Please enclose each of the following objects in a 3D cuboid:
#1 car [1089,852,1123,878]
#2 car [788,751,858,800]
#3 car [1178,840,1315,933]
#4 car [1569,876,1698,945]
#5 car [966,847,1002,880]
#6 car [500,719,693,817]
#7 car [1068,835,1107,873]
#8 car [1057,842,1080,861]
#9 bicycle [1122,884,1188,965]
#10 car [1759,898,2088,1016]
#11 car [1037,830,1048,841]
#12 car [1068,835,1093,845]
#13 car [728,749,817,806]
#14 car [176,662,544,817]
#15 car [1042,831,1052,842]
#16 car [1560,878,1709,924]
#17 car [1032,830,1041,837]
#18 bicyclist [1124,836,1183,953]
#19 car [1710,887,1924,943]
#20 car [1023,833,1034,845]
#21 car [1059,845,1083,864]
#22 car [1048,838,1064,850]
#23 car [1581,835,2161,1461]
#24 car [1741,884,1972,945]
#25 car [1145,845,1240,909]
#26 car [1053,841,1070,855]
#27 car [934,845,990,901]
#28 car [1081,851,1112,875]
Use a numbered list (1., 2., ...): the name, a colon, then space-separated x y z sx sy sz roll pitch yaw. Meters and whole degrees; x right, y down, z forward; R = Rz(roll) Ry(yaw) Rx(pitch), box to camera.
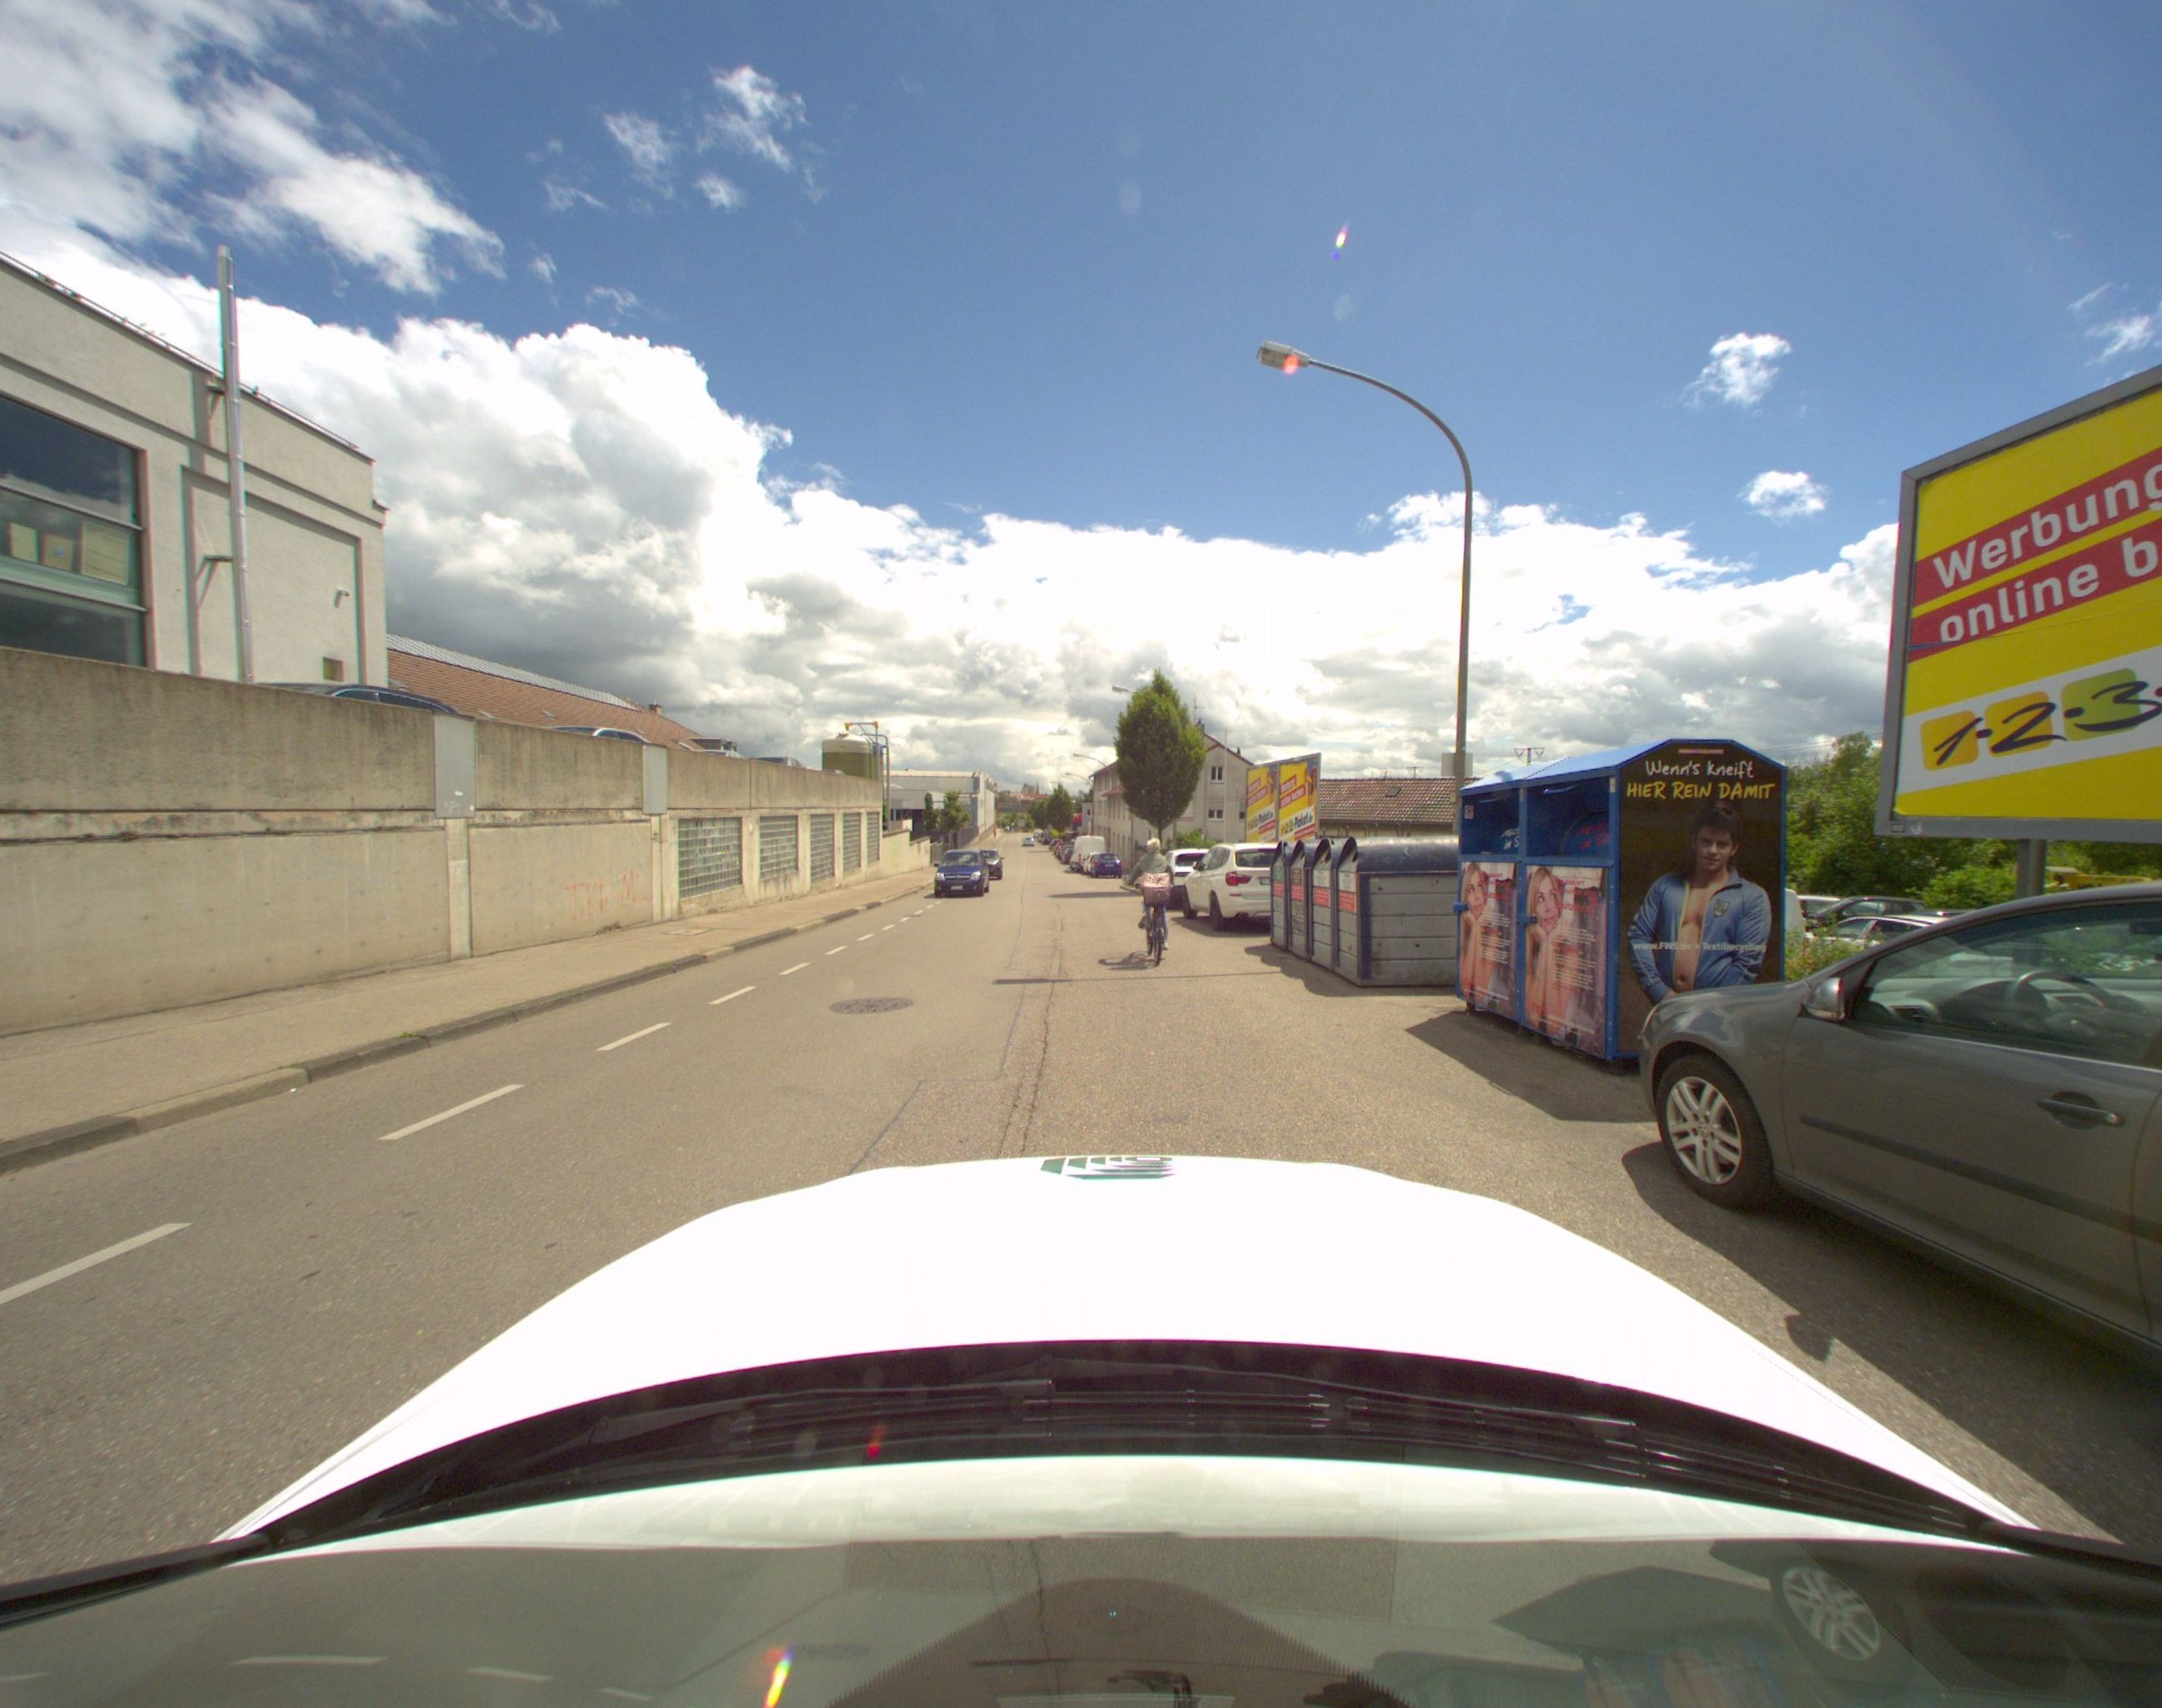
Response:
1. car: 1.478 0.648 49.188 1.564 1.510 4.087 1 0 -5
2. car: -10.840 -3.262 34.489 1.802 1.636 4.099 1 0 -3
3. car: 3.246 0.571 16.891 1.682 1.659 4.474 0 0 -4
4. car: 16.463 1.603 24.574 1.736 1.684 4.698 -1 1 15
5. car: -5.151 0.478 43.746 1.797 1.622 4.085 -1 0 -6
6. car: -10.043 -1.699 17.317 1.802 1.636 4.099 1 0 -3
7. car: 0.394 -0.029 60.217 2.031 2.641 7.268 1 0 -6
8. car: -1.308 -0.291 82.029 1.676 1.637 4.784 2 2 -8
9. bicycle: 1.030 0.970 11.686 0.738 0.975 1.731 1 1 -2
10. car: 14.653 1.685 14.640 1.741 1.517 4.595 -1 0 10
11. car: -7.154 -3.390 151.520 1.866 1.990 5.135 1 2 -5
12. car: -0.120 -2.279 130.781 1.735 1.462 4.025 -5 3 -43
13. car: -10.990 -2.686 29.335 1.802 1.636 4.099 1 0 -3
14. car: -9.963 -1.462 11.799 1.802 1.636 4.099 1 0 -3
15. car: -5.779 -2.951 136.775 1.675 1.637 4.119 1 2 -3
16. car: 18.430 1.527 27.269 3.991 1.390 1.534 -1 0 35
17. car: -10.601 -4.820 195.417 1.700 1.527 3.728 3 2 -9
18. bicyclist: 1.030 0.564 11.714 0.737 1.626 0.731 1 0 -2
19. car: 20.663 1.679 23.094 4.137 1.390 1.800 -1 0 23
20. car: -8.038 -2.271 124.722 1.564 1.786 3.599 1 0 -5
21. car: -0.959 0.017 76.468 1.702 1.509 5.078 3 2 -6
22. car: -3.387 -1.353 110.237 1.789 1.465 4.699 1 1 -6
23. car: 3.405 0.686 2.300 1.648 1.485 4.047 -1 0 3
24. car: 19.601 1.497 20.802 3.953 1.390 1.606 -1 0 23
25. car: 2.969 0.585 22.676 1.837 1.565 4.461 -1 0 -2
26. car: -2.285 -0.692 94.264 1.732 1.472 4.256 1 3 -4
27. car: -4.159 0.622 28.893 1.623 1.817 3.775 -1 0 -4
28. car: 0.995 0.552 54.037 1.591 1.510 3.782 1 0 -6
